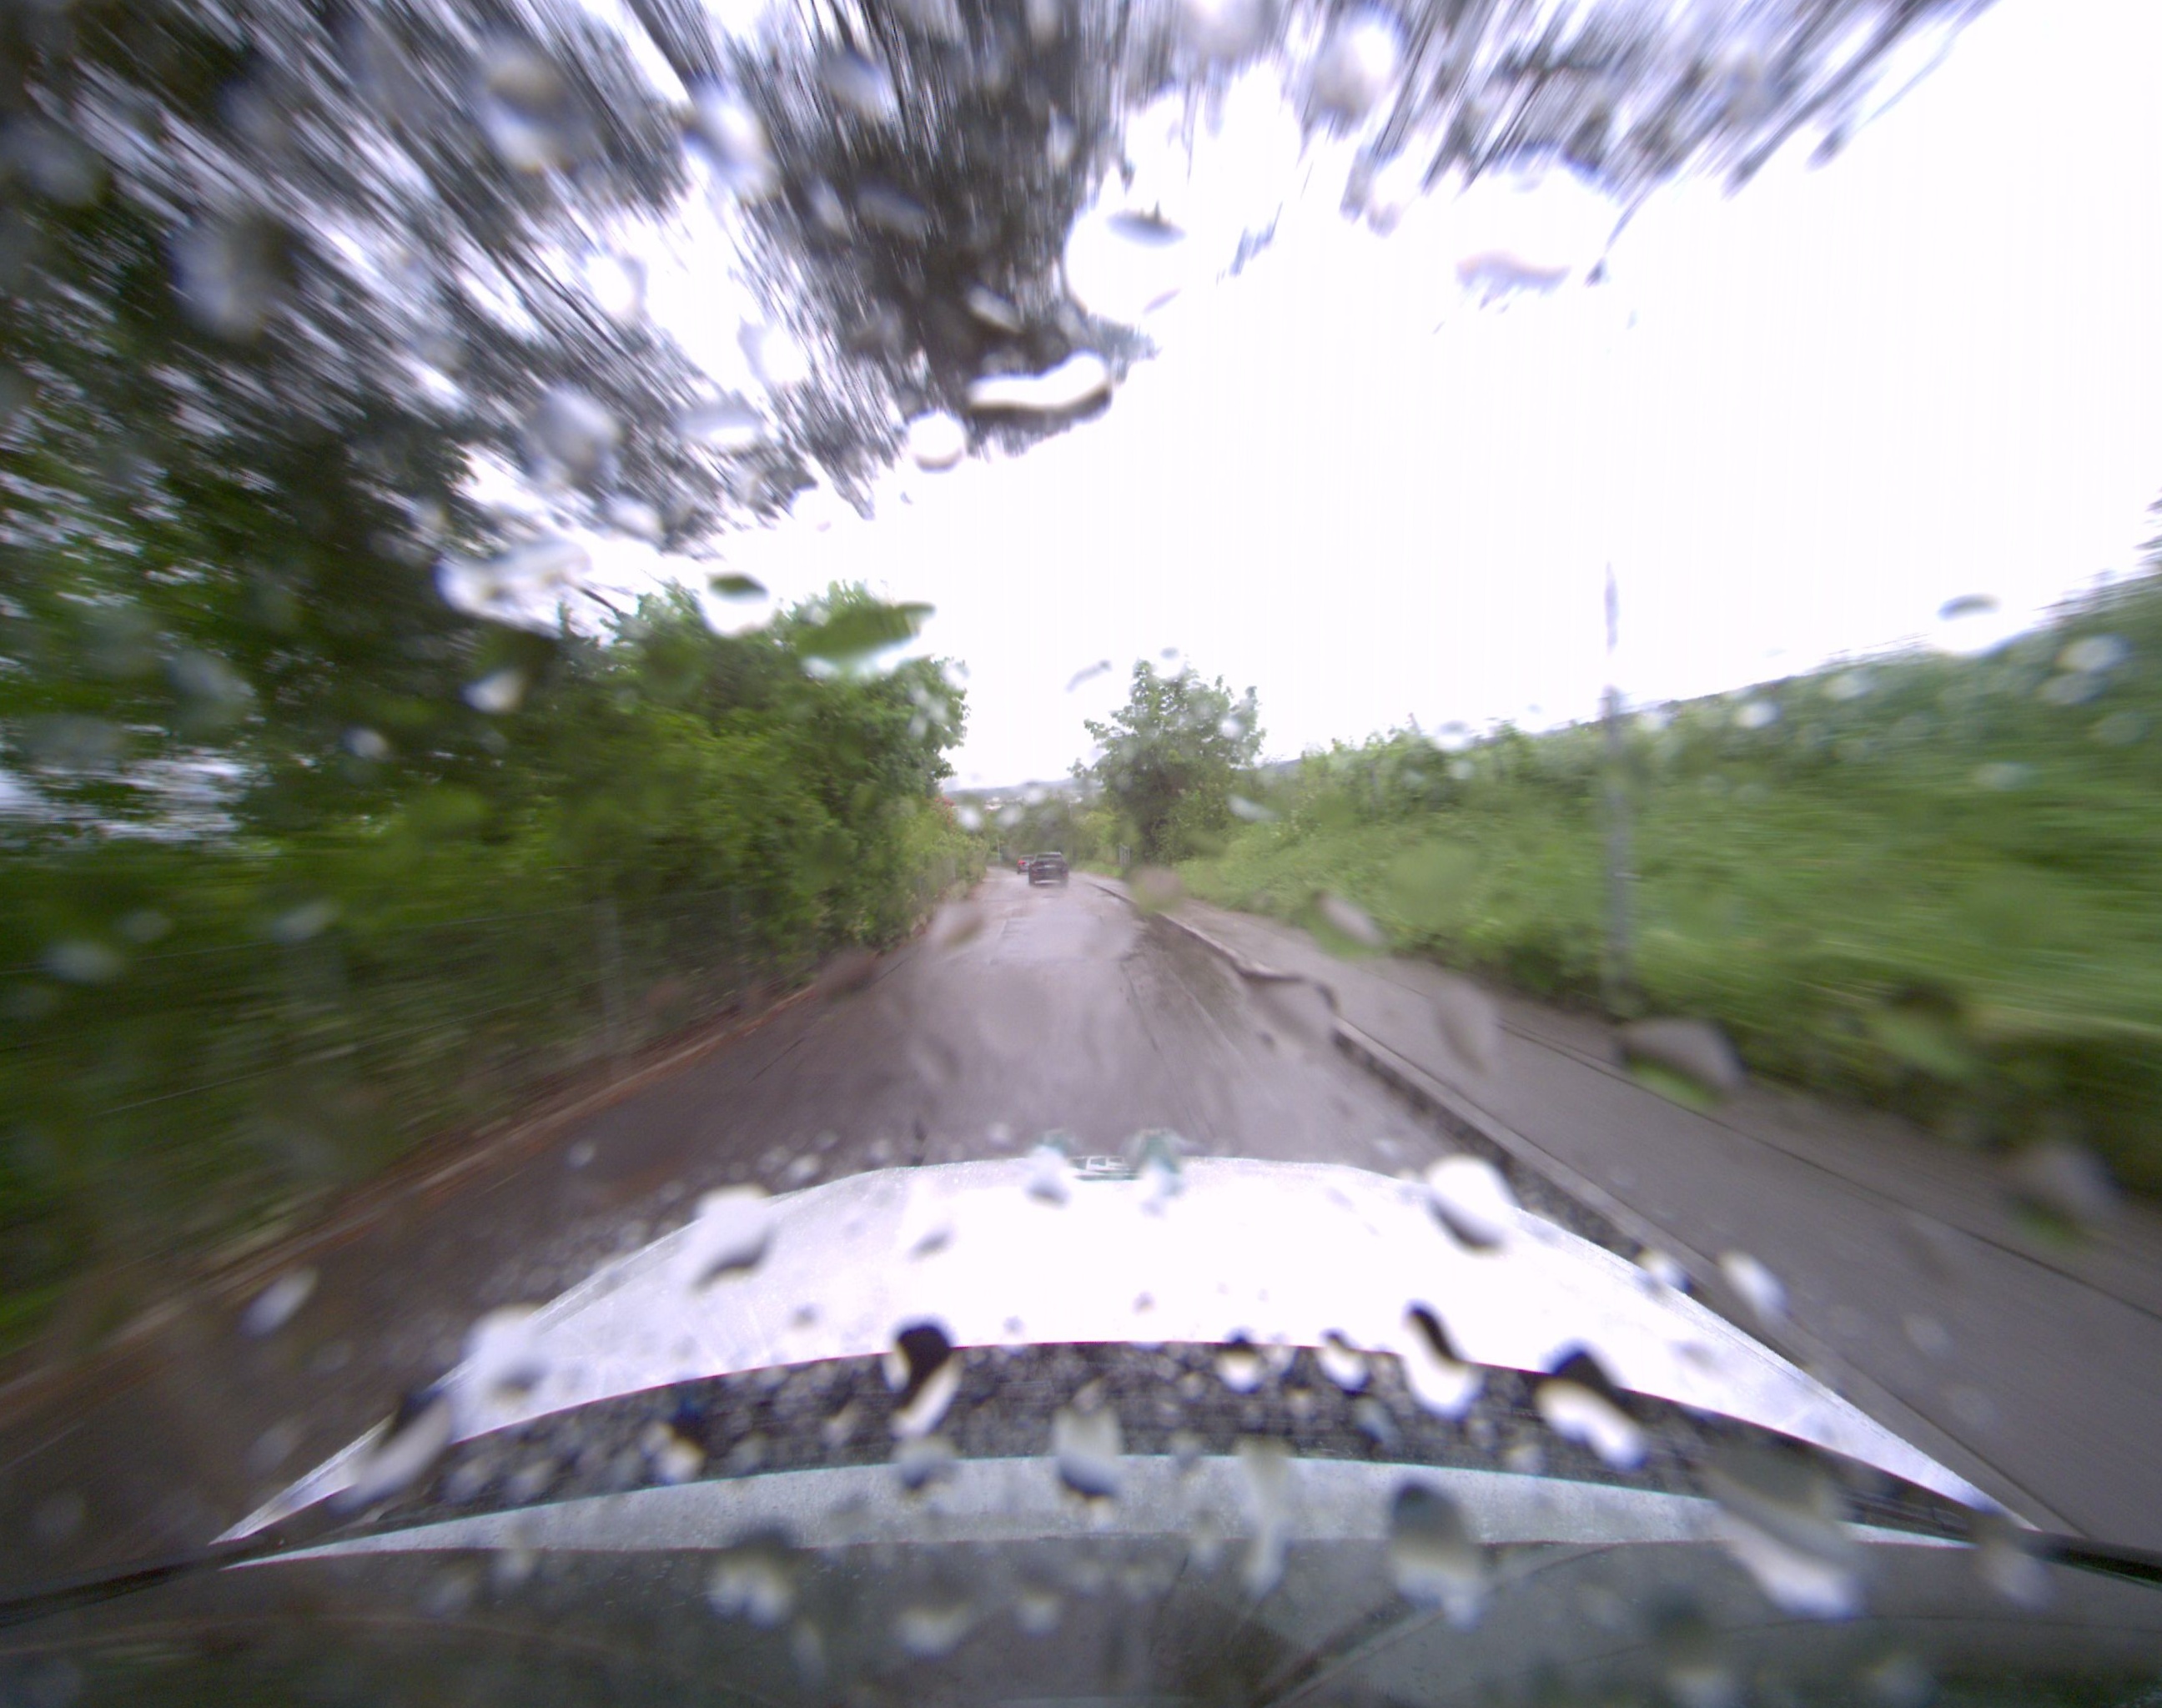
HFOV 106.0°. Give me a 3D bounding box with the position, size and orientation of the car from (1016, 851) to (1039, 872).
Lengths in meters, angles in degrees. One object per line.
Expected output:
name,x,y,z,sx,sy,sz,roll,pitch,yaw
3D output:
car,-4.326,0.573,65.435,1.676,1.565,3.787,-2,1,-6

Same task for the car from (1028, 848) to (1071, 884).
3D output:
car,-1.481,0.495,37.532,1.831,1.464,3.995,-3,1,-3
